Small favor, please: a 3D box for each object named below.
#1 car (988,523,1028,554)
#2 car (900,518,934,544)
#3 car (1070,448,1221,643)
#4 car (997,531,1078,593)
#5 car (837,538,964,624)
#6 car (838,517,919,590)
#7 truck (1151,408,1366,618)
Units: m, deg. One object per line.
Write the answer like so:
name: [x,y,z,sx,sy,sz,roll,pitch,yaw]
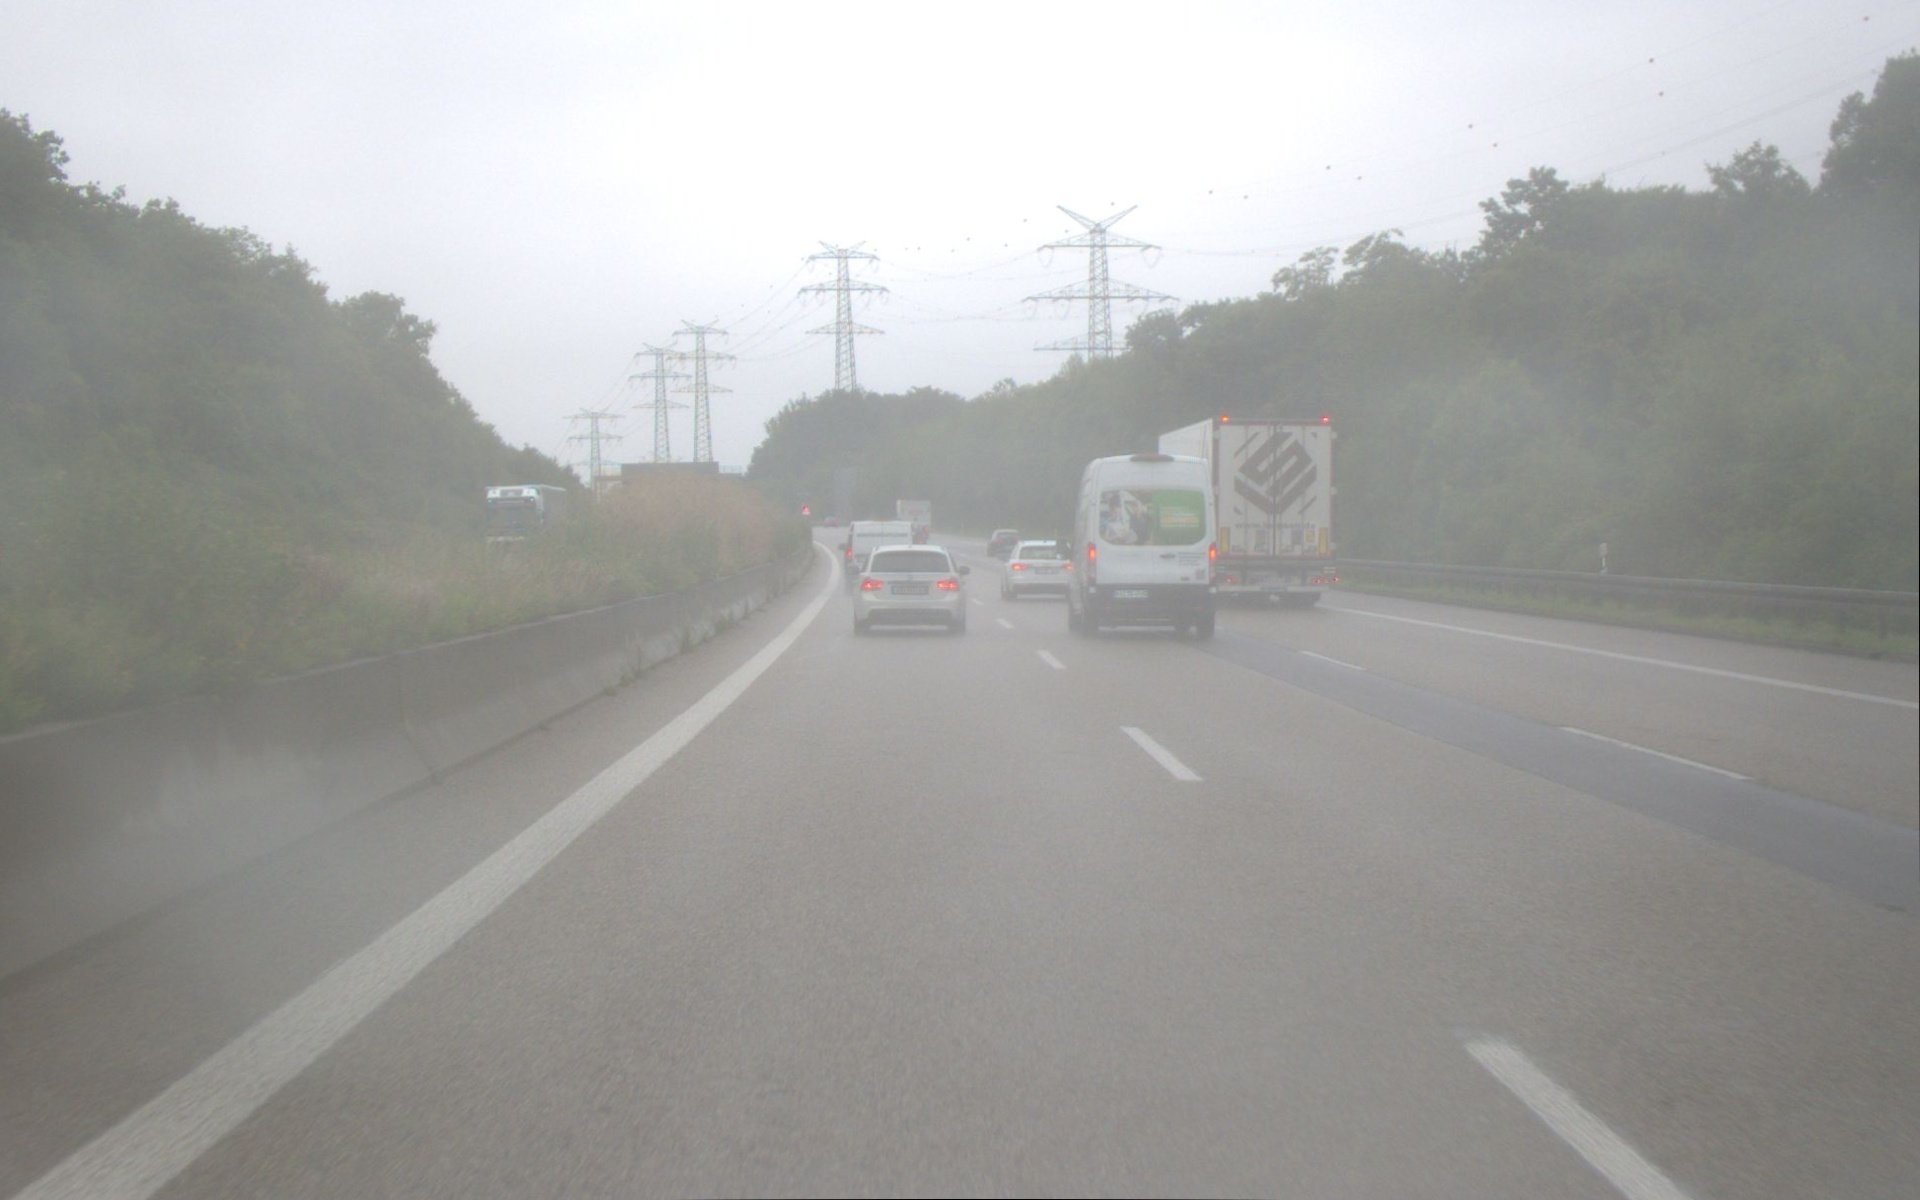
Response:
car: [2.494,-3.221,180.538,1.993,1.481,4.000,-2,1,0]
car: [-2.722,-4.367,218.713,1.993,1.568,4.000,-1,0,1]
car: [2.817,-0.849,53.051,1.993,2.854,4.000,-1,1,-1]
car: [1.844,-0.907,80.951,1.857,1.418,4.000,0,1,2]
car: [-0.916,-0.326,54.812,1.866,1.284,4.000,-1,1,1]
car: [-2.021,-1.174,86.485,1.846,1.766,4.000,-1,1,1]
truck: [6.550,-1.892,77.723,3.603,4.317,13.200,0,1,0]
